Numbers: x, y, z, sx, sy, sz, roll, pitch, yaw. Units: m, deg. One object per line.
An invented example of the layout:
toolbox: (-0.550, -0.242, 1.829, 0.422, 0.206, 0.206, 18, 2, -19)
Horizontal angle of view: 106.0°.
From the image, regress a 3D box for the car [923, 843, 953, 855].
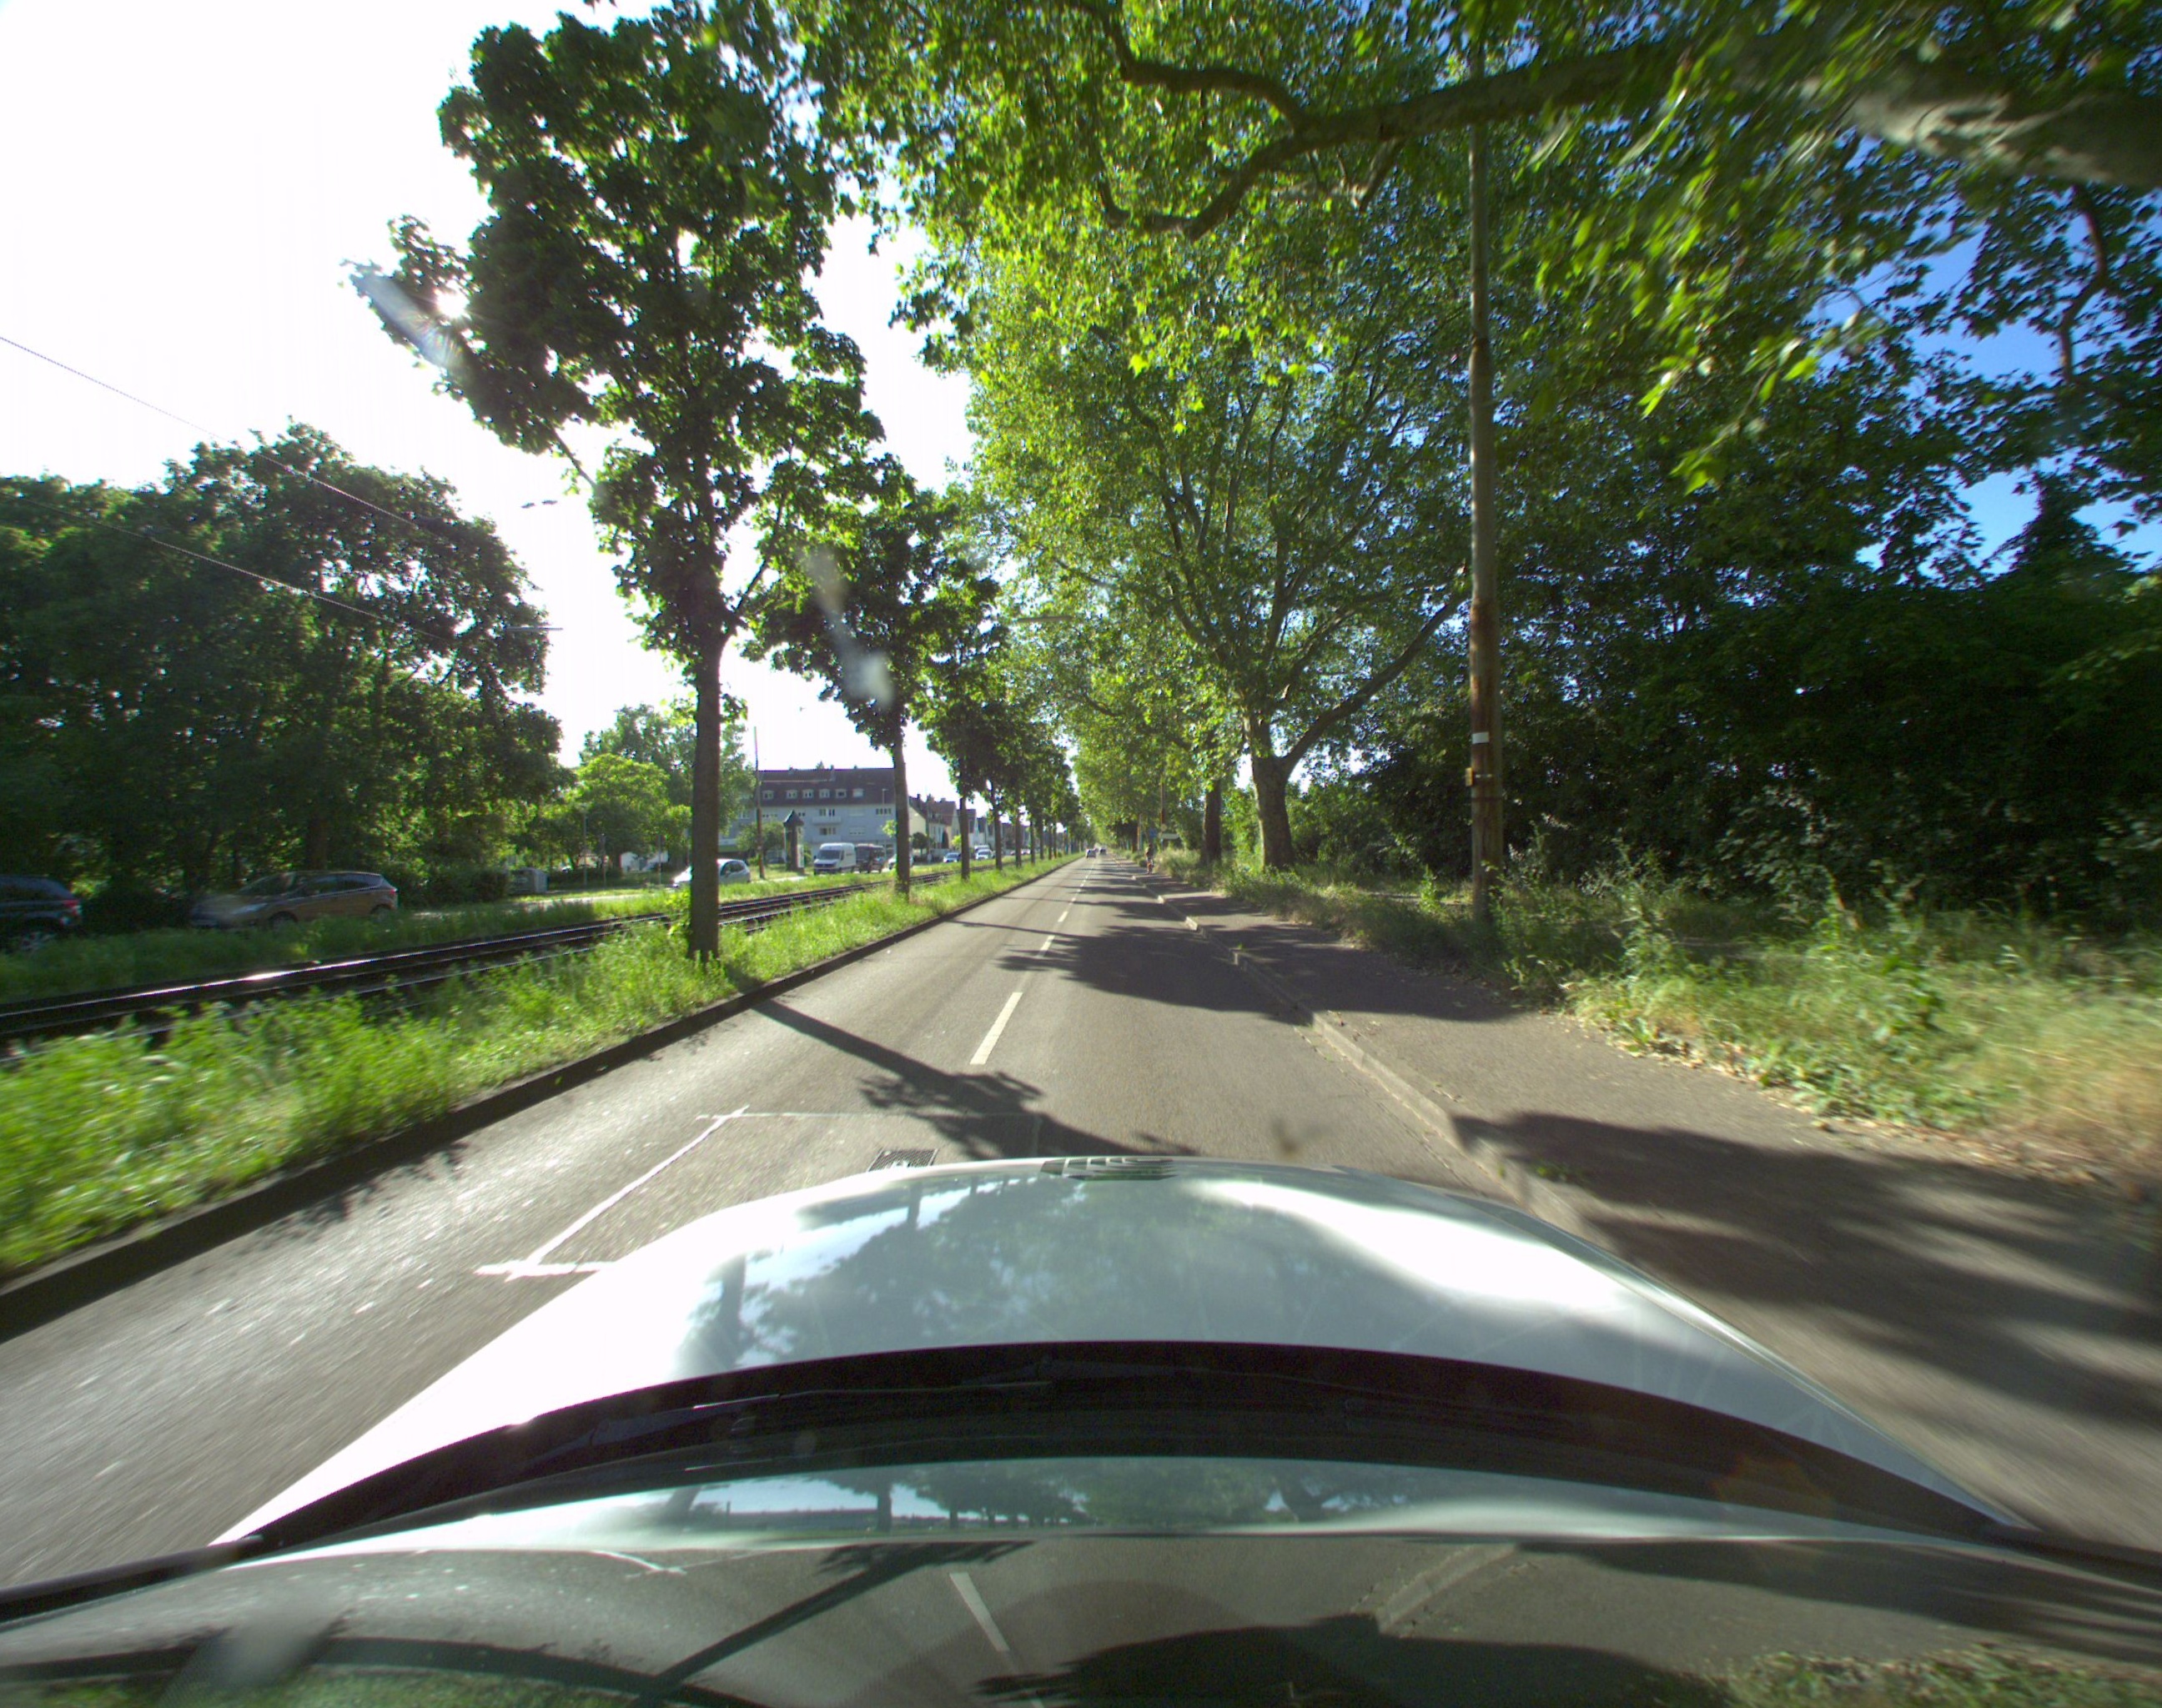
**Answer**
car: (-22.878, -0.830, 130.376, 4.617, 1.945, 1.994, -1, 0, -10)

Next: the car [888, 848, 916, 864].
car: (-18.779, 0.194, 85.577, 1.816, 1.607, 4.776, 0, 0, 2)

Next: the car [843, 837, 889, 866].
car: (-18.929, -0.211, 71.916, 2.174, 2.376, 6.467, 0, 0, 1)

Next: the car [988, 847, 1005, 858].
car: (-13.189, -0.260, 127.294, 1.985, 1.531, 3.754, -2, 1, 3)

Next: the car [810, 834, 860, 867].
car: (-19.369, -0.257, 64.391, 1.994, 2.496, 6.138, 0, 0, 1)

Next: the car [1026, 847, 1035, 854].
car: (-11.685, -0.857, 189.313, 1.670, 1.409, 4.001, -2, 1, 1)

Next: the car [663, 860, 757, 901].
car: (-15.345, 1.062, 33.951, 1.720, 1.528, 4.444, 0, 0, 2)

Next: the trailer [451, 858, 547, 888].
trailer: (-30.624, 0.999, 42.983, 3.758, 1.504, 1.743, 0, 0, -19)

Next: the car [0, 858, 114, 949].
car: (-20.501, 0.911, 14.271, 1.616, 1.622, 4.534, 0, 0, 1)

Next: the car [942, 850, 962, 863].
car: (-13.980, 0.231, 88.503, 1.551, 1.395, 3.821, 0, 0, 1)

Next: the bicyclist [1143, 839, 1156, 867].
bicyclist: (3.985, -0.059, 47.387, 0.611, 1.628, 0.910, -2, 0, 1)

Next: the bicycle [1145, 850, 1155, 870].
bicycle: (3.993, 0.329, 47.461, 0.438, 1.153, 1.824, -2, 0, 1)

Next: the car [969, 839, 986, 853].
car: (-18.527, -1.400, 145.814, 1.986, 2.459, 6.676, 0, 0, 1)

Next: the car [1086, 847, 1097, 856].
car: (1.735, -0.421, 132.713, 1.732, 1.401, 3.277, 0, 0, 1)

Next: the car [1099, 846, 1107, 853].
car: (5.161, -1.004, 189.184, 1.754, 1.513, 3.278, 0, 0, 2)

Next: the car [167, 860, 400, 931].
car: (-20.274, 0.985, 21.005, 1.667, 1.584, 4.251, 0, 0, 3)

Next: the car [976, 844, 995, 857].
car: (-13.107, -0.535, 111.942, 1.804, 1.744, 4.983, 0, 0, 1)
